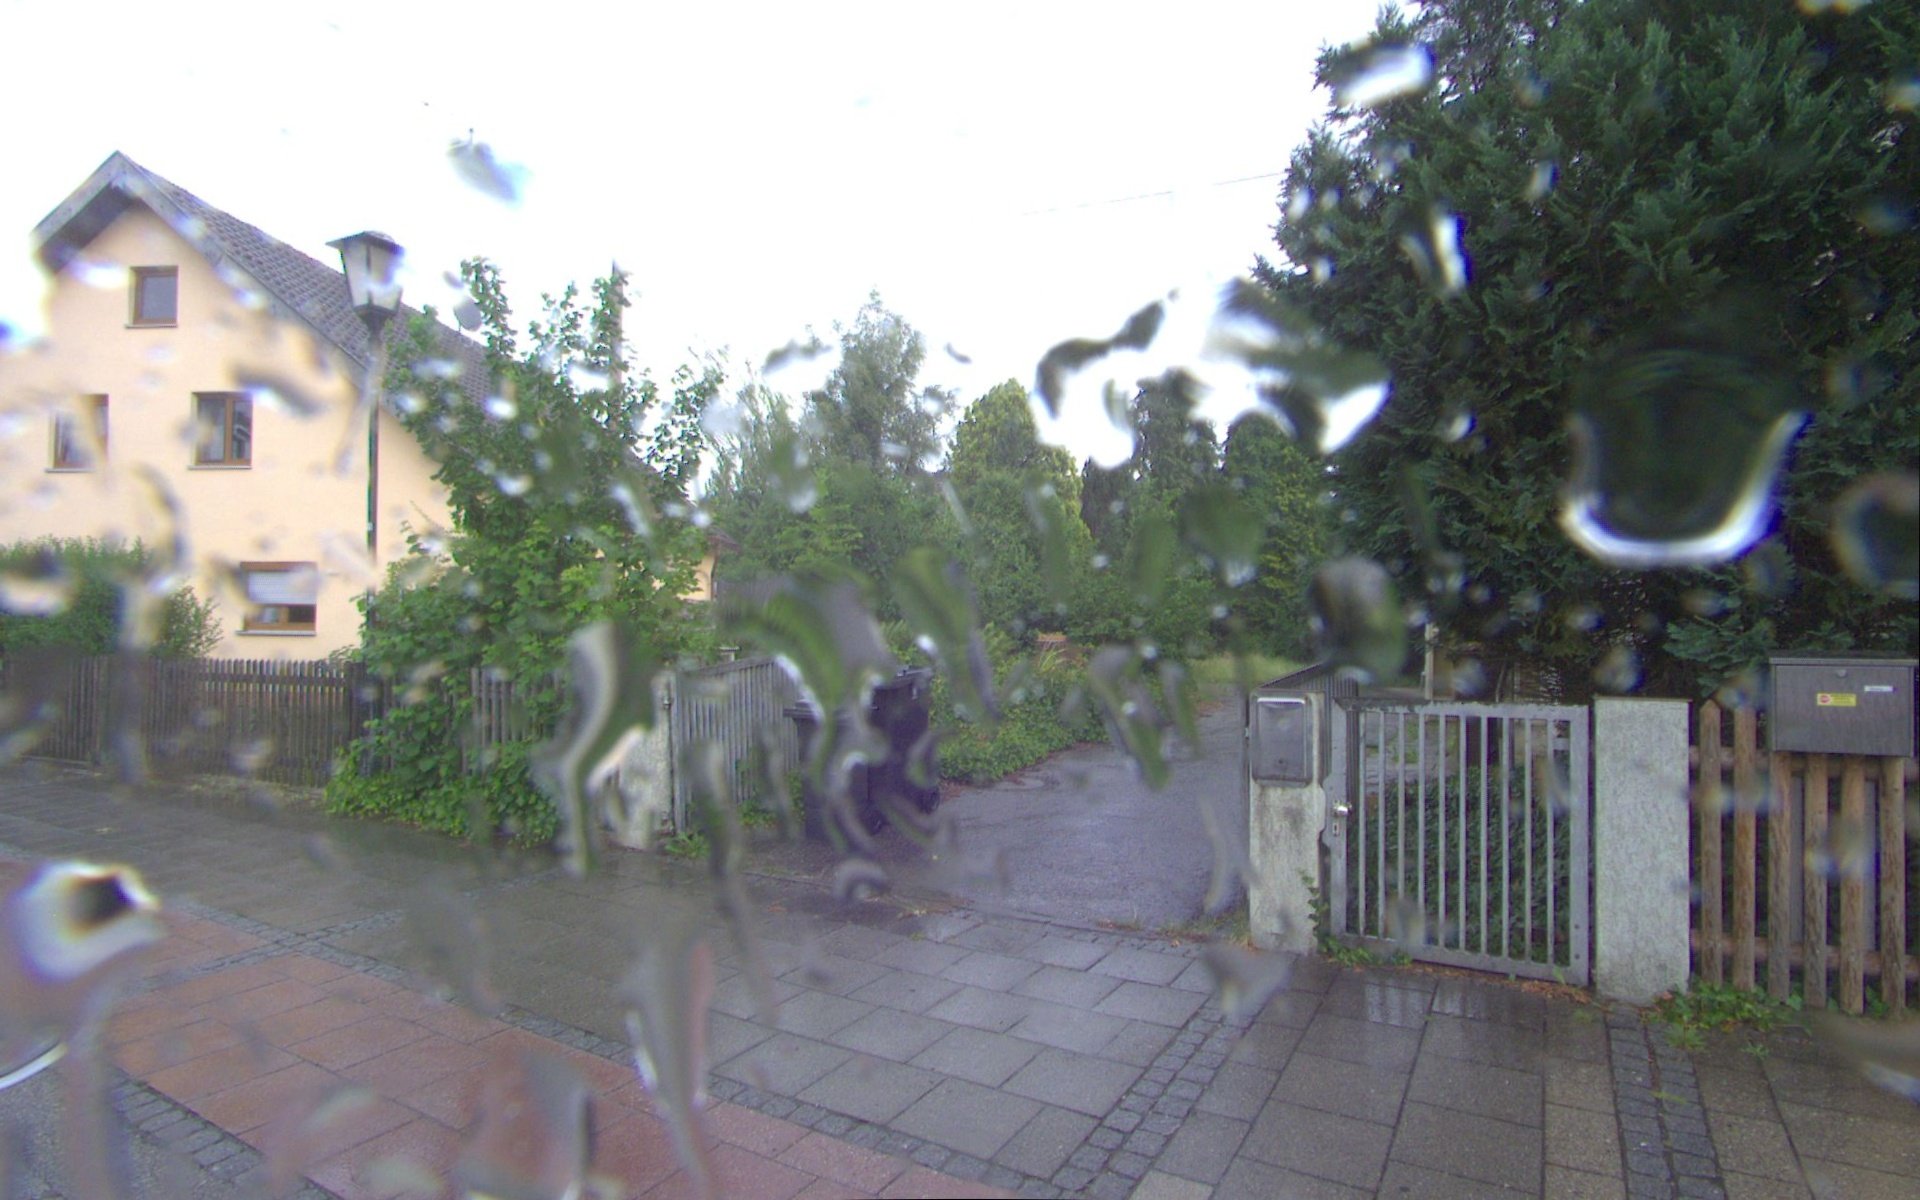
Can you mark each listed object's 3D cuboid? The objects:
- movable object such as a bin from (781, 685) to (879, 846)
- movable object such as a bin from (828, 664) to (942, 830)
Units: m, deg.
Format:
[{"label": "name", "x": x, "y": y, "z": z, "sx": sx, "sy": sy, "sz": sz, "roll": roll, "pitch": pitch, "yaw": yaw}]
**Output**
[{"label": "movable object such as a bin", "x": -0.839, "y": 1.052, "z": 6.494, "sx": 0.440, "sy": 0.948, "sz": 0.432, "roll": -1, "pitch": 1, "yaw": 33}, {"label": "movable object such as a bin", "x": -0.523, "y": 0.998, "z": 7.013, "sx": 0.545, "sy": 1.054, "sz": 0.574, "roll": -1, "pitch": 1, "yaw": 33}]
